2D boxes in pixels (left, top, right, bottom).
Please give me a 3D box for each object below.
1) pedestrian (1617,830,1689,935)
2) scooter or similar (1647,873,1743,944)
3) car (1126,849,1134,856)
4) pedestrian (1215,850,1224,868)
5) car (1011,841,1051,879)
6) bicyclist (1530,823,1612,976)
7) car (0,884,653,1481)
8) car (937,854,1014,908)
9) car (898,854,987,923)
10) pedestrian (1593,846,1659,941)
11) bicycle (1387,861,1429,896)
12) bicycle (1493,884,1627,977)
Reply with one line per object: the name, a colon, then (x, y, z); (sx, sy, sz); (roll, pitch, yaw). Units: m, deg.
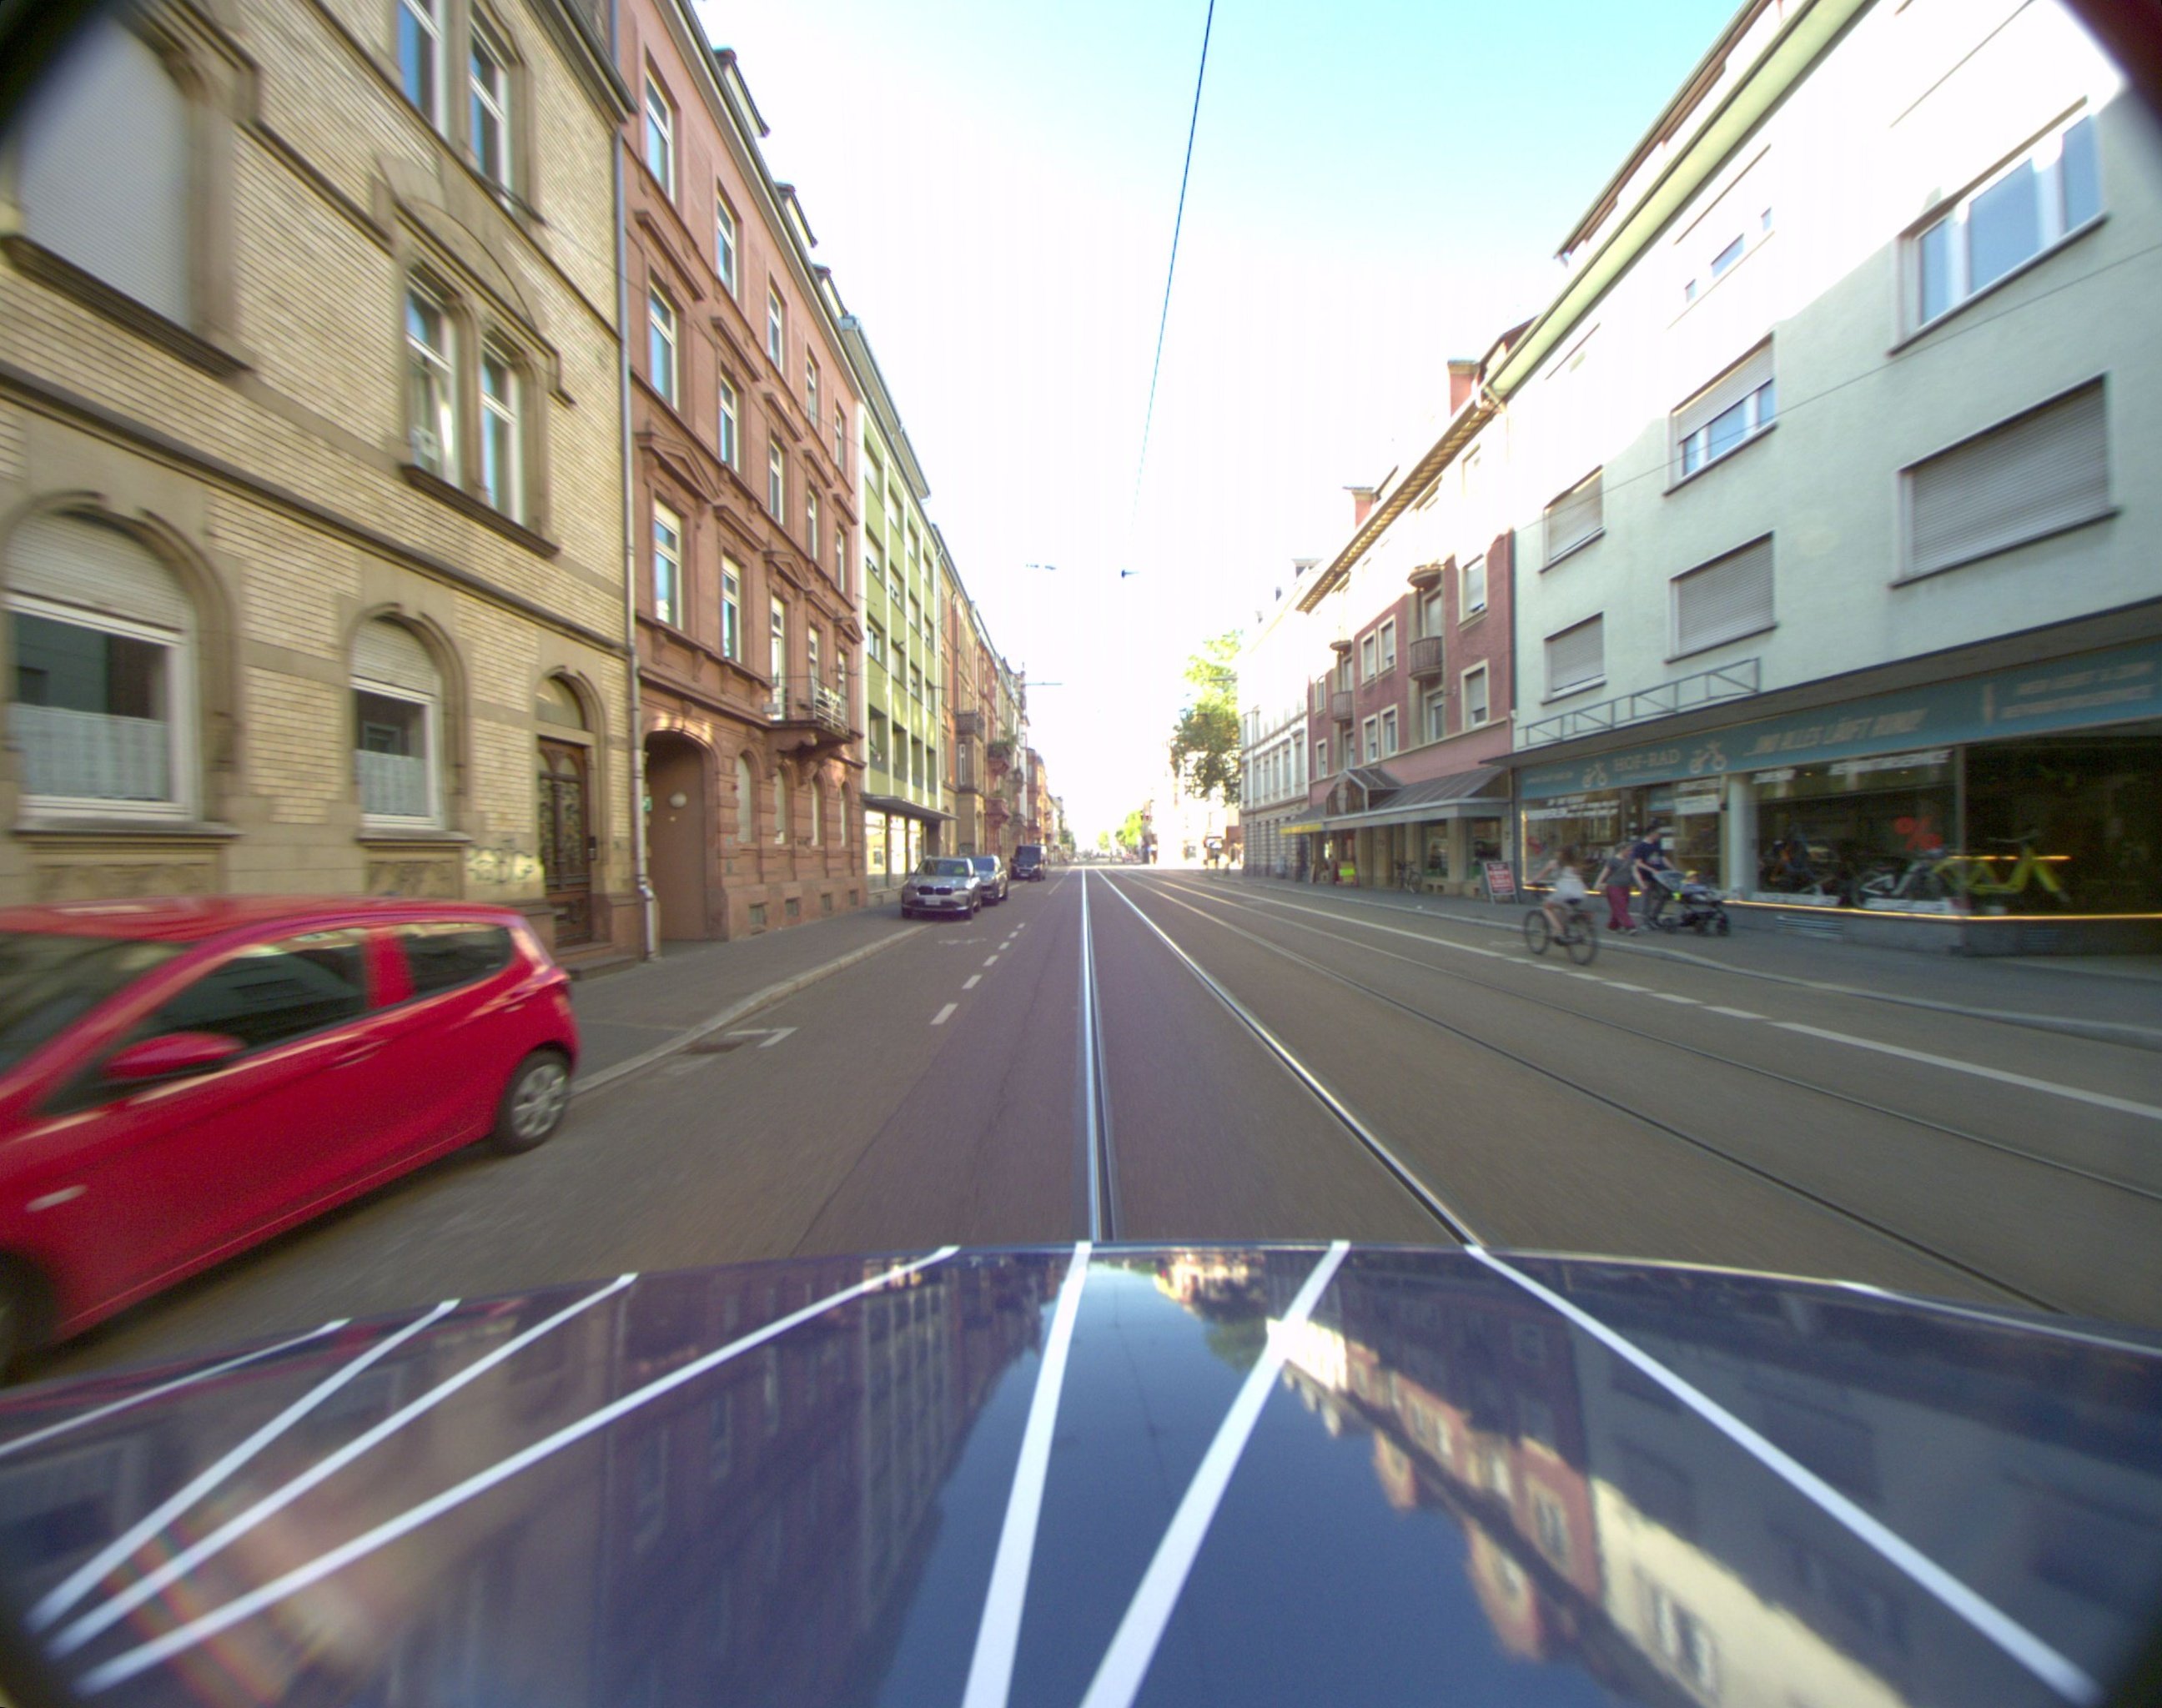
pedestrian: (10.080, 0.480, 13.422); (0.627, 1.779, 0.821); (-2, 1, 0)
scooter or similar: (10.021, 0.868, 12.447); (0.663, 1.055, 1.105); (-2, 0, 1)
car: (13.094, -0.358, 203.073); (1.998, 2.002, 4.000); (-1, 0, 0)
pedestrian: (14.600, 0.496, 80.307); (0.795, 1.837, 0.809); (-2, 1, 3)
car: (-3.432, 0.352, 53.747); (2.128, 2.478, 5.856); (-2, 1, 2)
bicyclist: (6.670, 0.595, 10.374); (0.613, 2.002, 0.733); (-2, 1, 1)
car: (-3.962, 0.996, 3.140); (1.870, 1.474, 4.400); (2, 1, 0)
car: (-3.579, 0.866, 26.691); (1.998, 1.606, 4.785); (2, 1, 0)
car: (-3.731, 0.866, 21.170); (1.871, 1.637, 4.399); (-2, 1, -4)
pedestrian: (9.205, 0.650, 12.855); (0.637, 1.540, 0.623); (-2, 1, 0)
bicycle: (11.063, 0.802, 25.790); (0.425, 1.053, 2.329); (-2, 1, 0)
bicycle: (6.678, 1.017, 10.735); (0.603, 1.089, 2.044); (1, 1, 1)
